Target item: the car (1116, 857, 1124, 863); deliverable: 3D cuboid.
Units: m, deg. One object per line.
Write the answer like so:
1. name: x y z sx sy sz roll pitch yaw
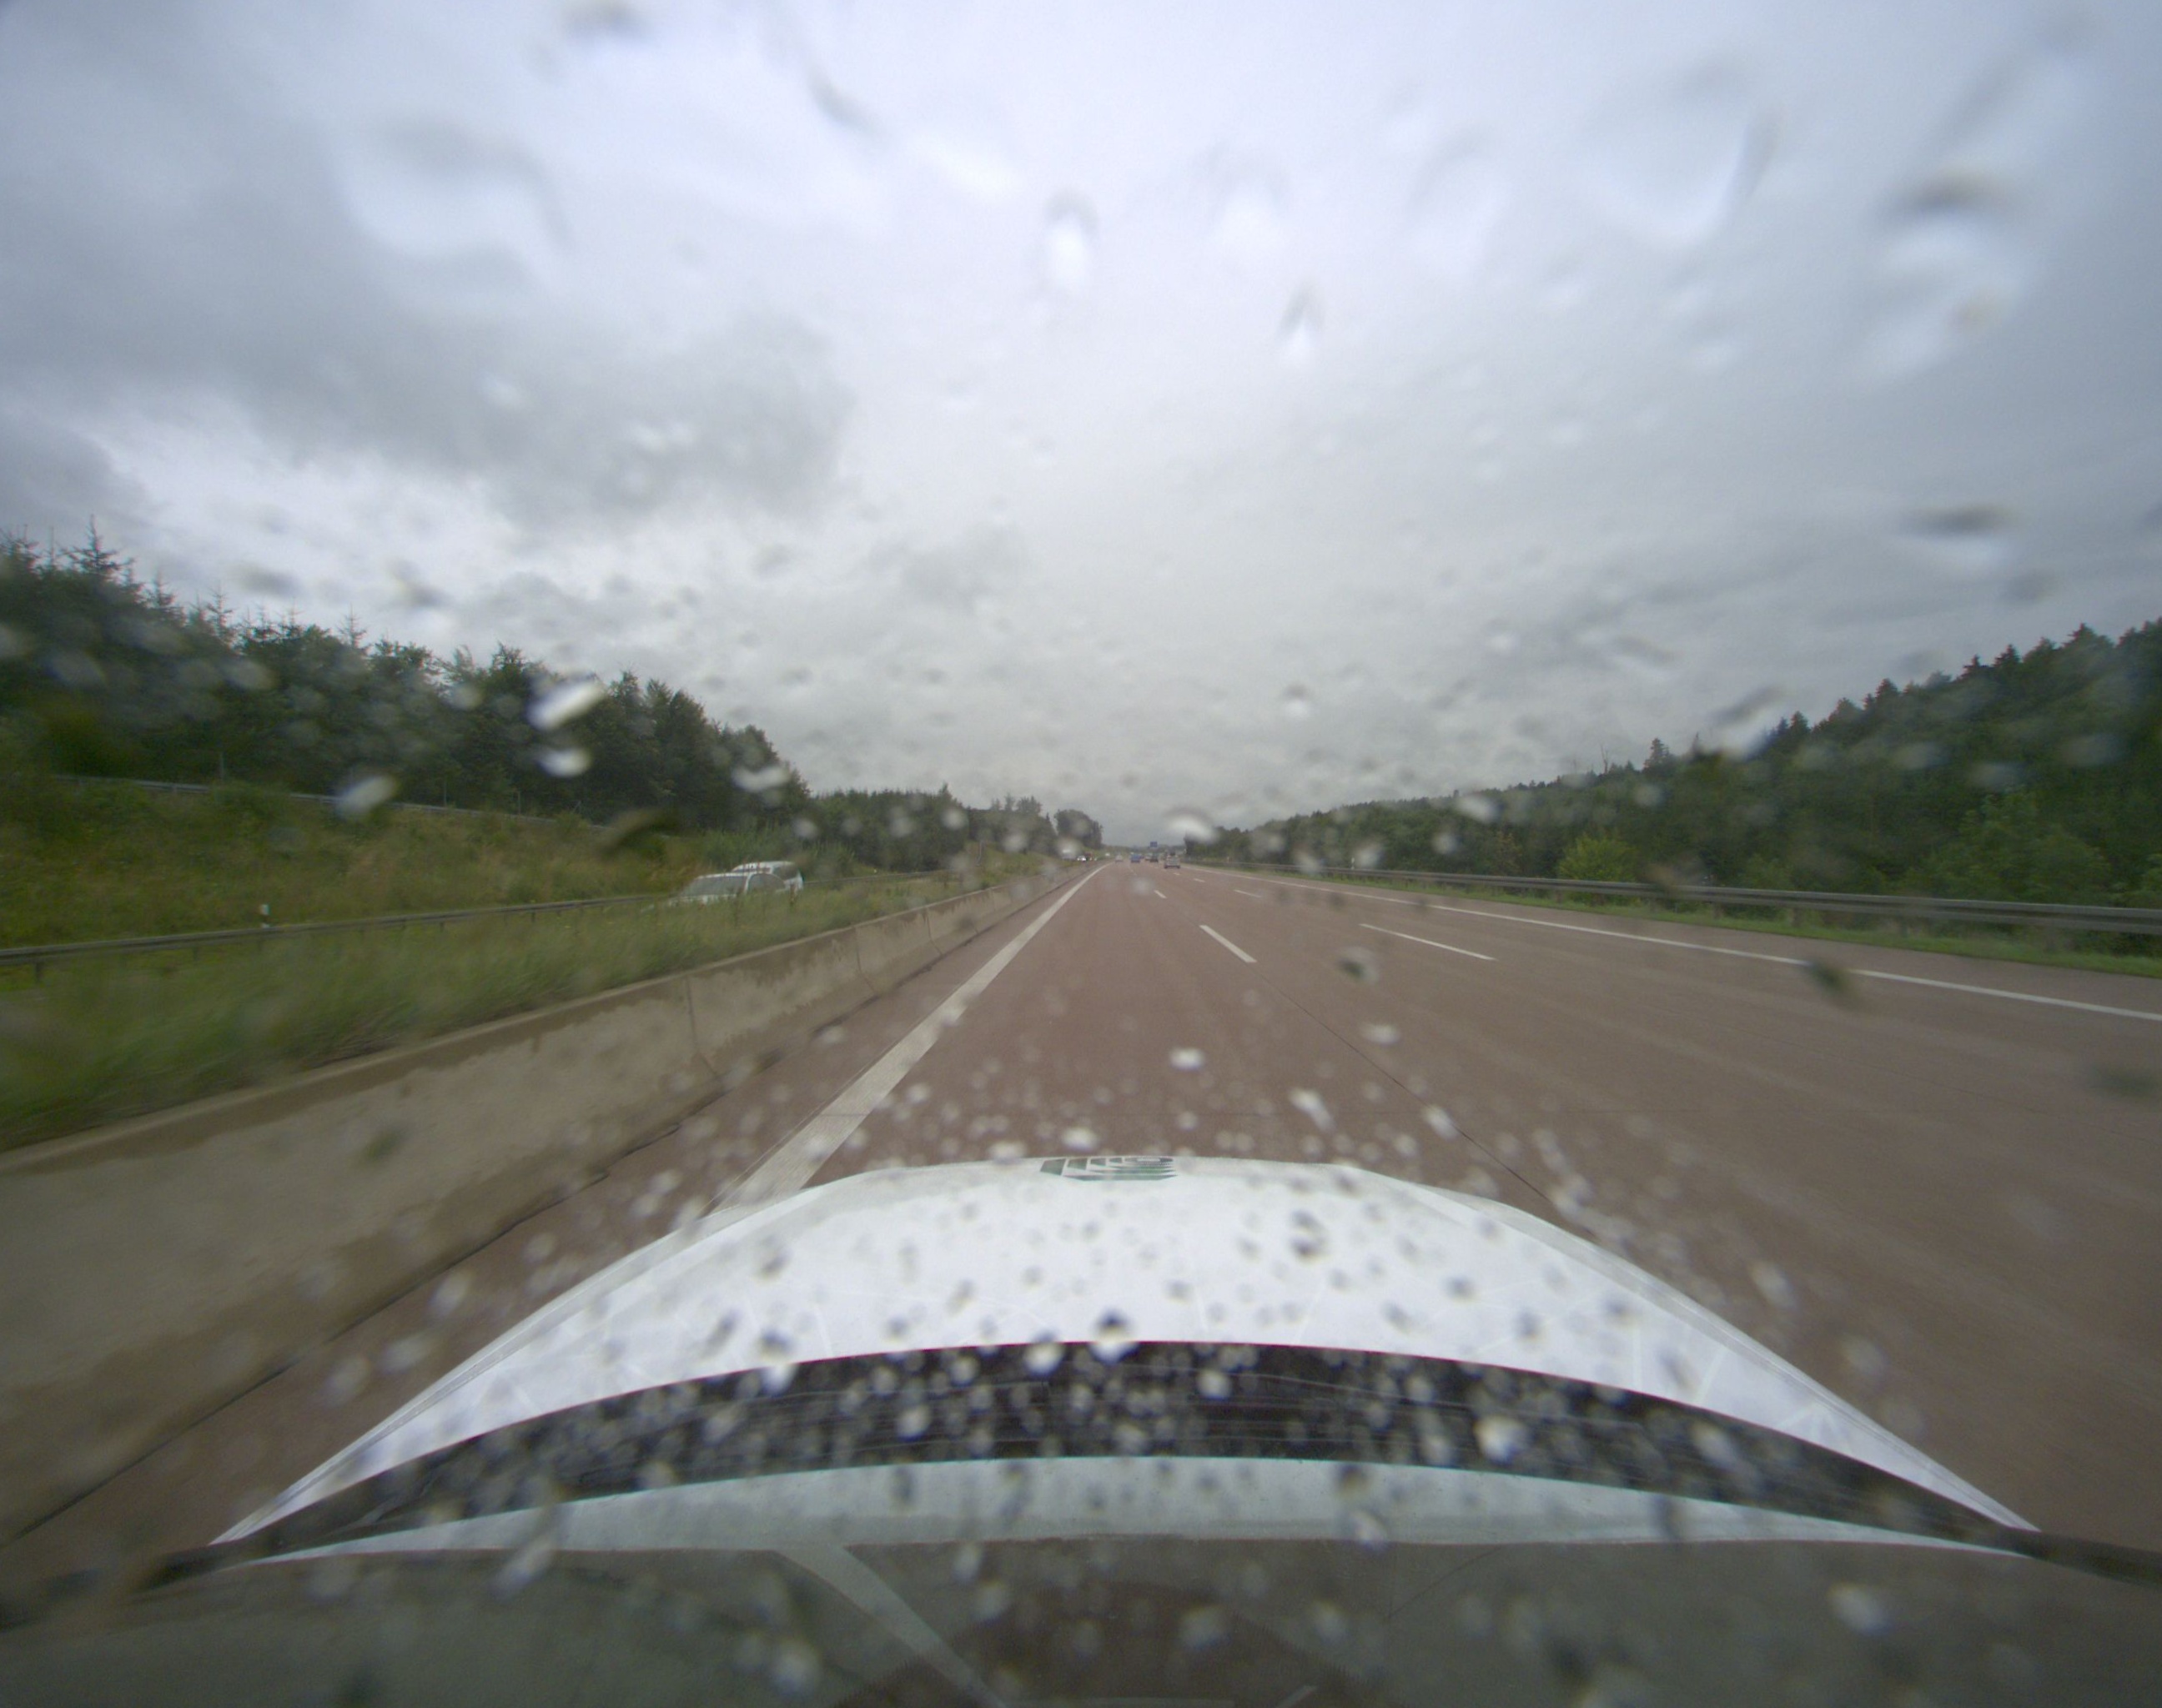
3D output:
1. car: 9.167 1.373 190.985 1.867 1.444 4.879 0 -1 2

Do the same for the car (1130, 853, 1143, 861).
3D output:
1. car: 11.931 0.697 175.633 2.316 1.750 4.874 0 -1 -1

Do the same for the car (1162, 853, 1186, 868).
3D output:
1. car: 11.409 0.809 99.913 2.316 1.750 4.874 0 -1 -1

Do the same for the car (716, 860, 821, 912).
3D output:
1. car: -11.017 1.107 29.125 1.727 1.722 4.764 0 -1 2

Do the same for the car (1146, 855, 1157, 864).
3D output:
1. car: 15.622 1.304 180.595 1.988 2.014 3.997 0 -1 -2

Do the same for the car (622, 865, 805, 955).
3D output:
1. car: -7.521 1.083 17.223 1.671 1.647 4.447 0 -1 2
